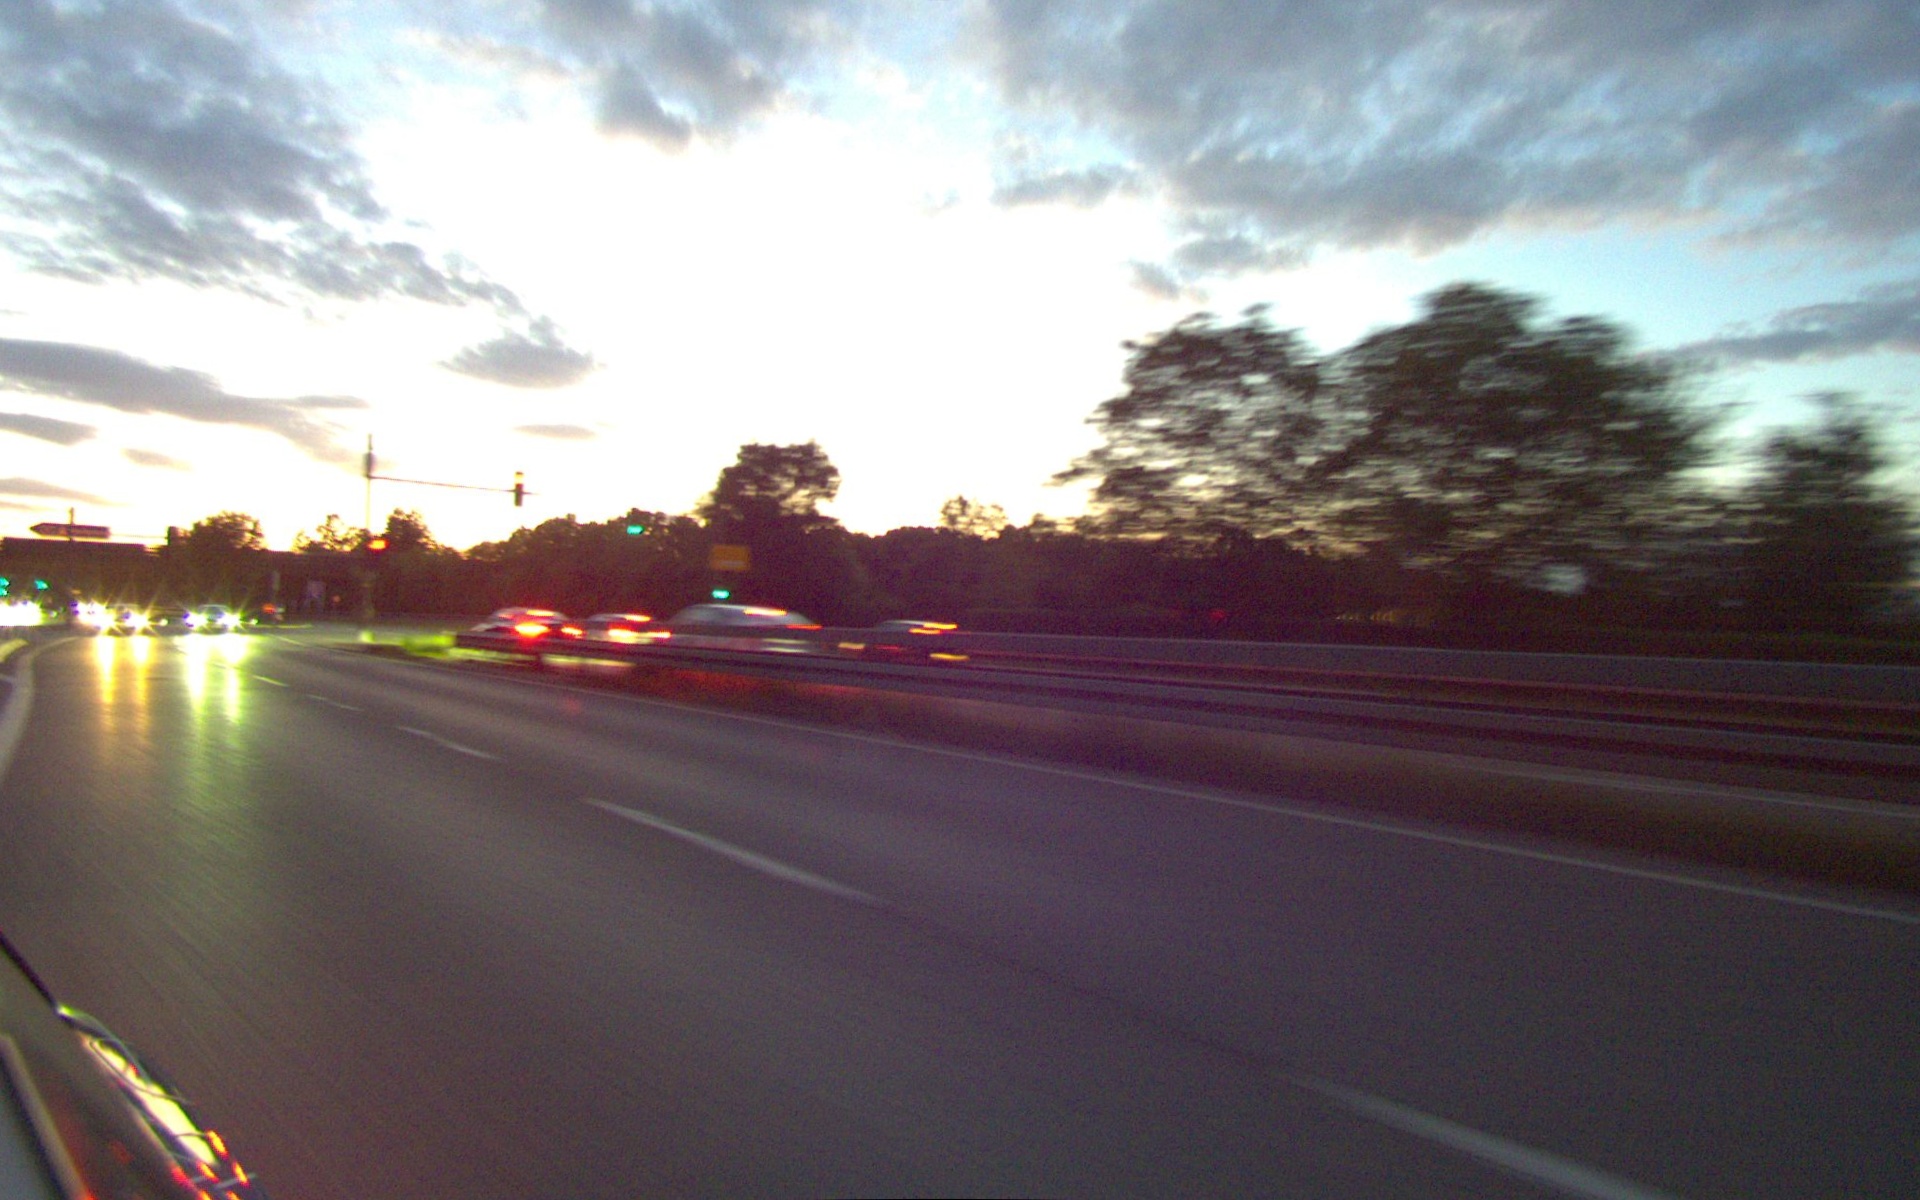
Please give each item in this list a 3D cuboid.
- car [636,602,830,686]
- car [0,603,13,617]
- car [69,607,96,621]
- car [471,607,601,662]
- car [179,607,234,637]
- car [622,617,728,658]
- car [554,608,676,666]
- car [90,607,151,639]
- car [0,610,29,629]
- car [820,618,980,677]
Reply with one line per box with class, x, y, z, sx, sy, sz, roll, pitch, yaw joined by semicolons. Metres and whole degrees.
car;-4.988;0.889;21.726;1.969;1.582;4.829;3;-2;-41
car;-113.771;1.126;119.825;3.997;1.608;1.973;0;-1;40
car;-104.114;1.603;120.113;2.025;1.608;4.009;1;-1;-36
car;-12.599;0.987;29.897;1.969;1.464;5.054;3;-2;-41
car;-39.322;1.119;52.754;1.969;1.464;4.741;2;-1;-41
car;-11.044;1.417;39.024;1.970;1.464;4.739;3;-3;-43
car;-11.668;1.203;34.024;1.970;1.694;4.877;3;-1;-44
car;-41.536;1.112;50.039;1.970;1.464;4.003;4;-3;-44
car;-91.472;1.894;97.671;1.976;1.741;4.009;2;-1;-36
car;-1.773;1.299;28.519;1.969;1.464;4.740;3;-2;-42
